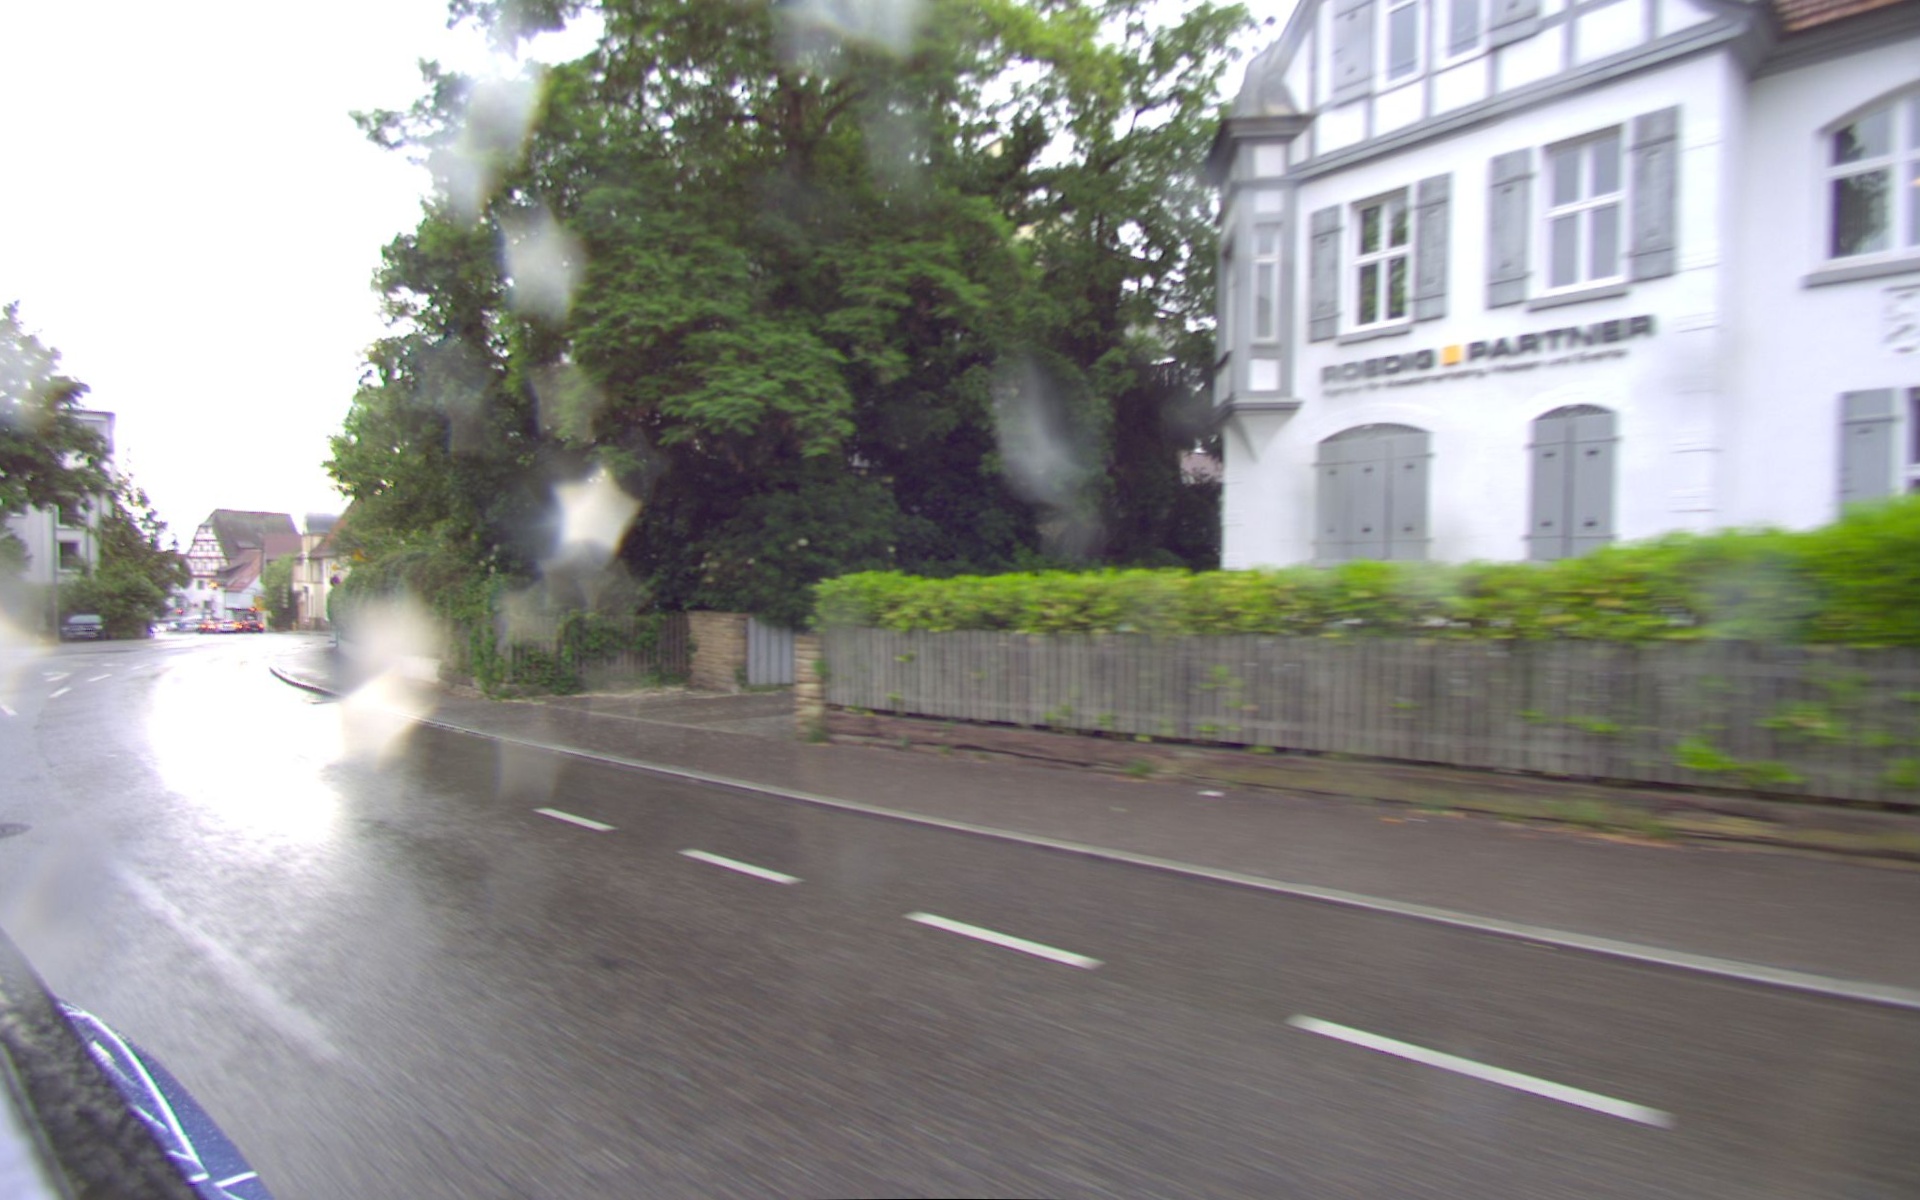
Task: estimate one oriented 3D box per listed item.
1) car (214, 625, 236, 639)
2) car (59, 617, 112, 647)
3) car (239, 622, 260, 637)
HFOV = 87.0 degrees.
[{"bbox_3d":[-78.143,3.427,107.567,1.776,1.450,4.698,-1,-1,-38],"label":"car"},{"bbox_3d":[-50.545,1.833,58.548,1.757,1.582,4.740,-3,0,-35],"label":"car"},{"bbox_3d":[-79.739,3.312,113.578,1.723,1.583,3.821,-5,1,-38],"label":"car"}]
